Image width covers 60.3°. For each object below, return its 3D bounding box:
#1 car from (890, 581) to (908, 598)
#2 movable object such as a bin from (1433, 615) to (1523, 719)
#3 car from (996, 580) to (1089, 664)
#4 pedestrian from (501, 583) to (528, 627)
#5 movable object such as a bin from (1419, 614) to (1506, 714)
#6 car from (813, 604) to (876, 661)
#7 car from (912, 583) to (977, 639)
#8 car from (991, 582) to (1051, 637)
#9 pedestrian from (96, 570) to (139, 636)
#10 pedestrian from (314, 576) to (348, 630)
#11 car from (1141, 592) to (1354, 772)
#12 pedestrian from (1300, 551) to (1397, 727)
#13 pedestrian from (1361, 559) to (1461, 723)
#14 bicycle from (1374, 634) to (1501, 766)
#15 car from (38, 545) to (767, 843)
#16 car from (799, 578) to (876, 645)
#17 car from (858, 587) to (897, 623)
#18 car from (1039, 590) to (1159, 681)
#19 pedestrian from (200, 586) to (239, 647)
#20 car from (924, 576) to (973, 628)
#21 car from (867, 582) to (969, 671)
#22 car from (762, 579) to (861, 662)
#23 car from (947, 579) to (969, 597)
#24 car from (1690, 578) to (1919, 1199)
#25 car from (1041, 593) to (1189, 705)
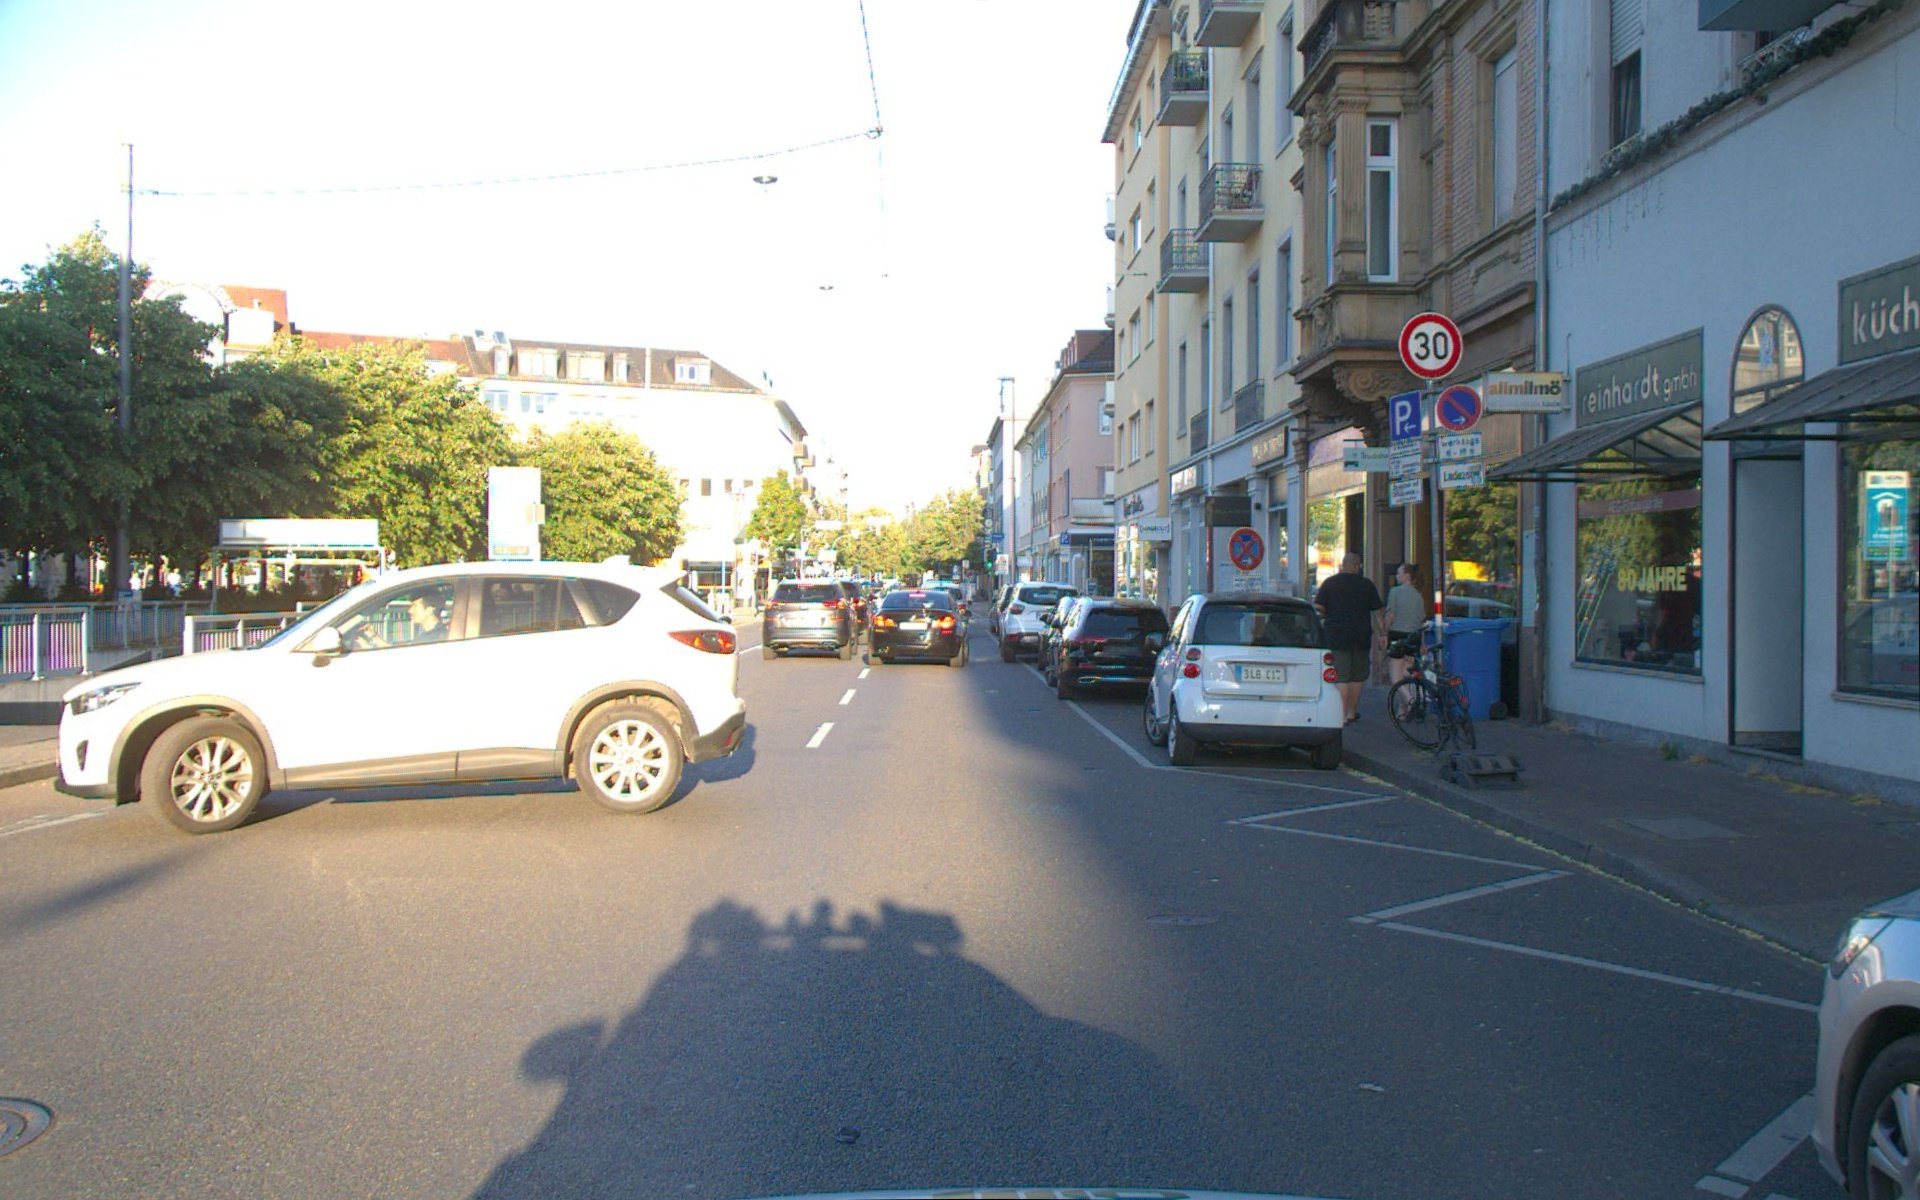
[{"bbox_3d":[-5.851,-1.038,158.439,1.744,1.574,3.998,0,1,-2],"label":"car"},{"bbox_3d":[5.710,0.726,18.252,0.759,1.089,0.618,-2,0,-2],"label":"movable object such as a bin"},{"bbox_3d":[1.744,0.452,35.977,1.694,1.679,4.283,2,0,-1],"label":"car"},{"bbox_3d":[-16.586,0.171,61.615,0.773,1.622,0.568,1,0,18],"label":"pedestrian"},{"bbox_3d":[5.739,0.722,18.906,0.759,1.089,0.618,-2,0,-2],"label":"movable object such as a bin"},{"bbox_3d":[-3.451,0.949,49.886,1.744,1.574,3.998,0,1,-2],"label":"car"},{"bbox_3d":[-0.517,0.306,50.619,1.858,1.608,3.999,2,0,-2],"label":"car"},{"bbox_3d":[1.948,0.297,53.473,1.694,1.680,3.969,2,0,-1],"label":"car"},{"bbox_3d":[-20.986,0.074,41.225,0.663,1.622,0.677,1,0,18],"label":"pedestrian"},{"bbox_3d":[-19.225,0.090,50.590,0.773,1.622,0.568,1,0,18],"label":"pedestrian"},{"bbox_3d":[2.722,0.724,16.241,1.500,1.563,3.283,1,0,0],"label":"car"},{"bbox_3d":[4.263,0.410,18.209,0.757,1.859,1.010,-2,1,-2],"label":"pedestrian"},{"bbox_3d":[4.981,0.437,18.340,0.757,1.741,1.041,-2,1,-2],"label":"pedestrian"},{"bbox_3d":[4.213,0.851,14.714,0.494,1.033,1.946,0,1,-2],"label":"bicycle"},{"bbox_3d":[-3.659,0.536,11.465,4.377,1.792,1.992,-1,0,-15],"label":"car"},{"bbox_3d":[-3.197,0.270,43.834,1.858,1.678,4.103,0,0,-2],"label":"car"},{"bbox_3d":[-3.782,0.218,76.694,1.744,1.574,3.998,0,1,-2],"label":"car"},{"bbox_3d":[2.445,0.592,30.059,1.694,1.473,4.473,2,0,-1],"label":"car"},{"bbox_3d":[-20.170,0.439,45.064,0.663,1.622,0.677,1,0,18],"label":"pedestrian"},{"bbox_3d":[-0.486,0.060,69.455,1.953,2.048,4.000,2,0,-1],"label":"car"},{"bbox_3d":[-0.837,0.477,32.778,1.858,1.608,3.999,2,0,-2],"label":"car"},{"bbox_3d":[-3.126,0.401,35.448,1.858,1.678,4.103,0,0,-2],"label":"car"},{"bbox_3d":[-0.203,-1.112,154.295,1.858,1.608,3.850,0,1,-2],"label":"car"},{"bbox_3d":[2.939,0.766,2.011,1.724,1.563,4.818,2,0,-3],"label":"car"},{"bbox_3d":[2.227,0.673,24.853,1.694,1.473,4.523,2,0,-1],"label":"car"}]
